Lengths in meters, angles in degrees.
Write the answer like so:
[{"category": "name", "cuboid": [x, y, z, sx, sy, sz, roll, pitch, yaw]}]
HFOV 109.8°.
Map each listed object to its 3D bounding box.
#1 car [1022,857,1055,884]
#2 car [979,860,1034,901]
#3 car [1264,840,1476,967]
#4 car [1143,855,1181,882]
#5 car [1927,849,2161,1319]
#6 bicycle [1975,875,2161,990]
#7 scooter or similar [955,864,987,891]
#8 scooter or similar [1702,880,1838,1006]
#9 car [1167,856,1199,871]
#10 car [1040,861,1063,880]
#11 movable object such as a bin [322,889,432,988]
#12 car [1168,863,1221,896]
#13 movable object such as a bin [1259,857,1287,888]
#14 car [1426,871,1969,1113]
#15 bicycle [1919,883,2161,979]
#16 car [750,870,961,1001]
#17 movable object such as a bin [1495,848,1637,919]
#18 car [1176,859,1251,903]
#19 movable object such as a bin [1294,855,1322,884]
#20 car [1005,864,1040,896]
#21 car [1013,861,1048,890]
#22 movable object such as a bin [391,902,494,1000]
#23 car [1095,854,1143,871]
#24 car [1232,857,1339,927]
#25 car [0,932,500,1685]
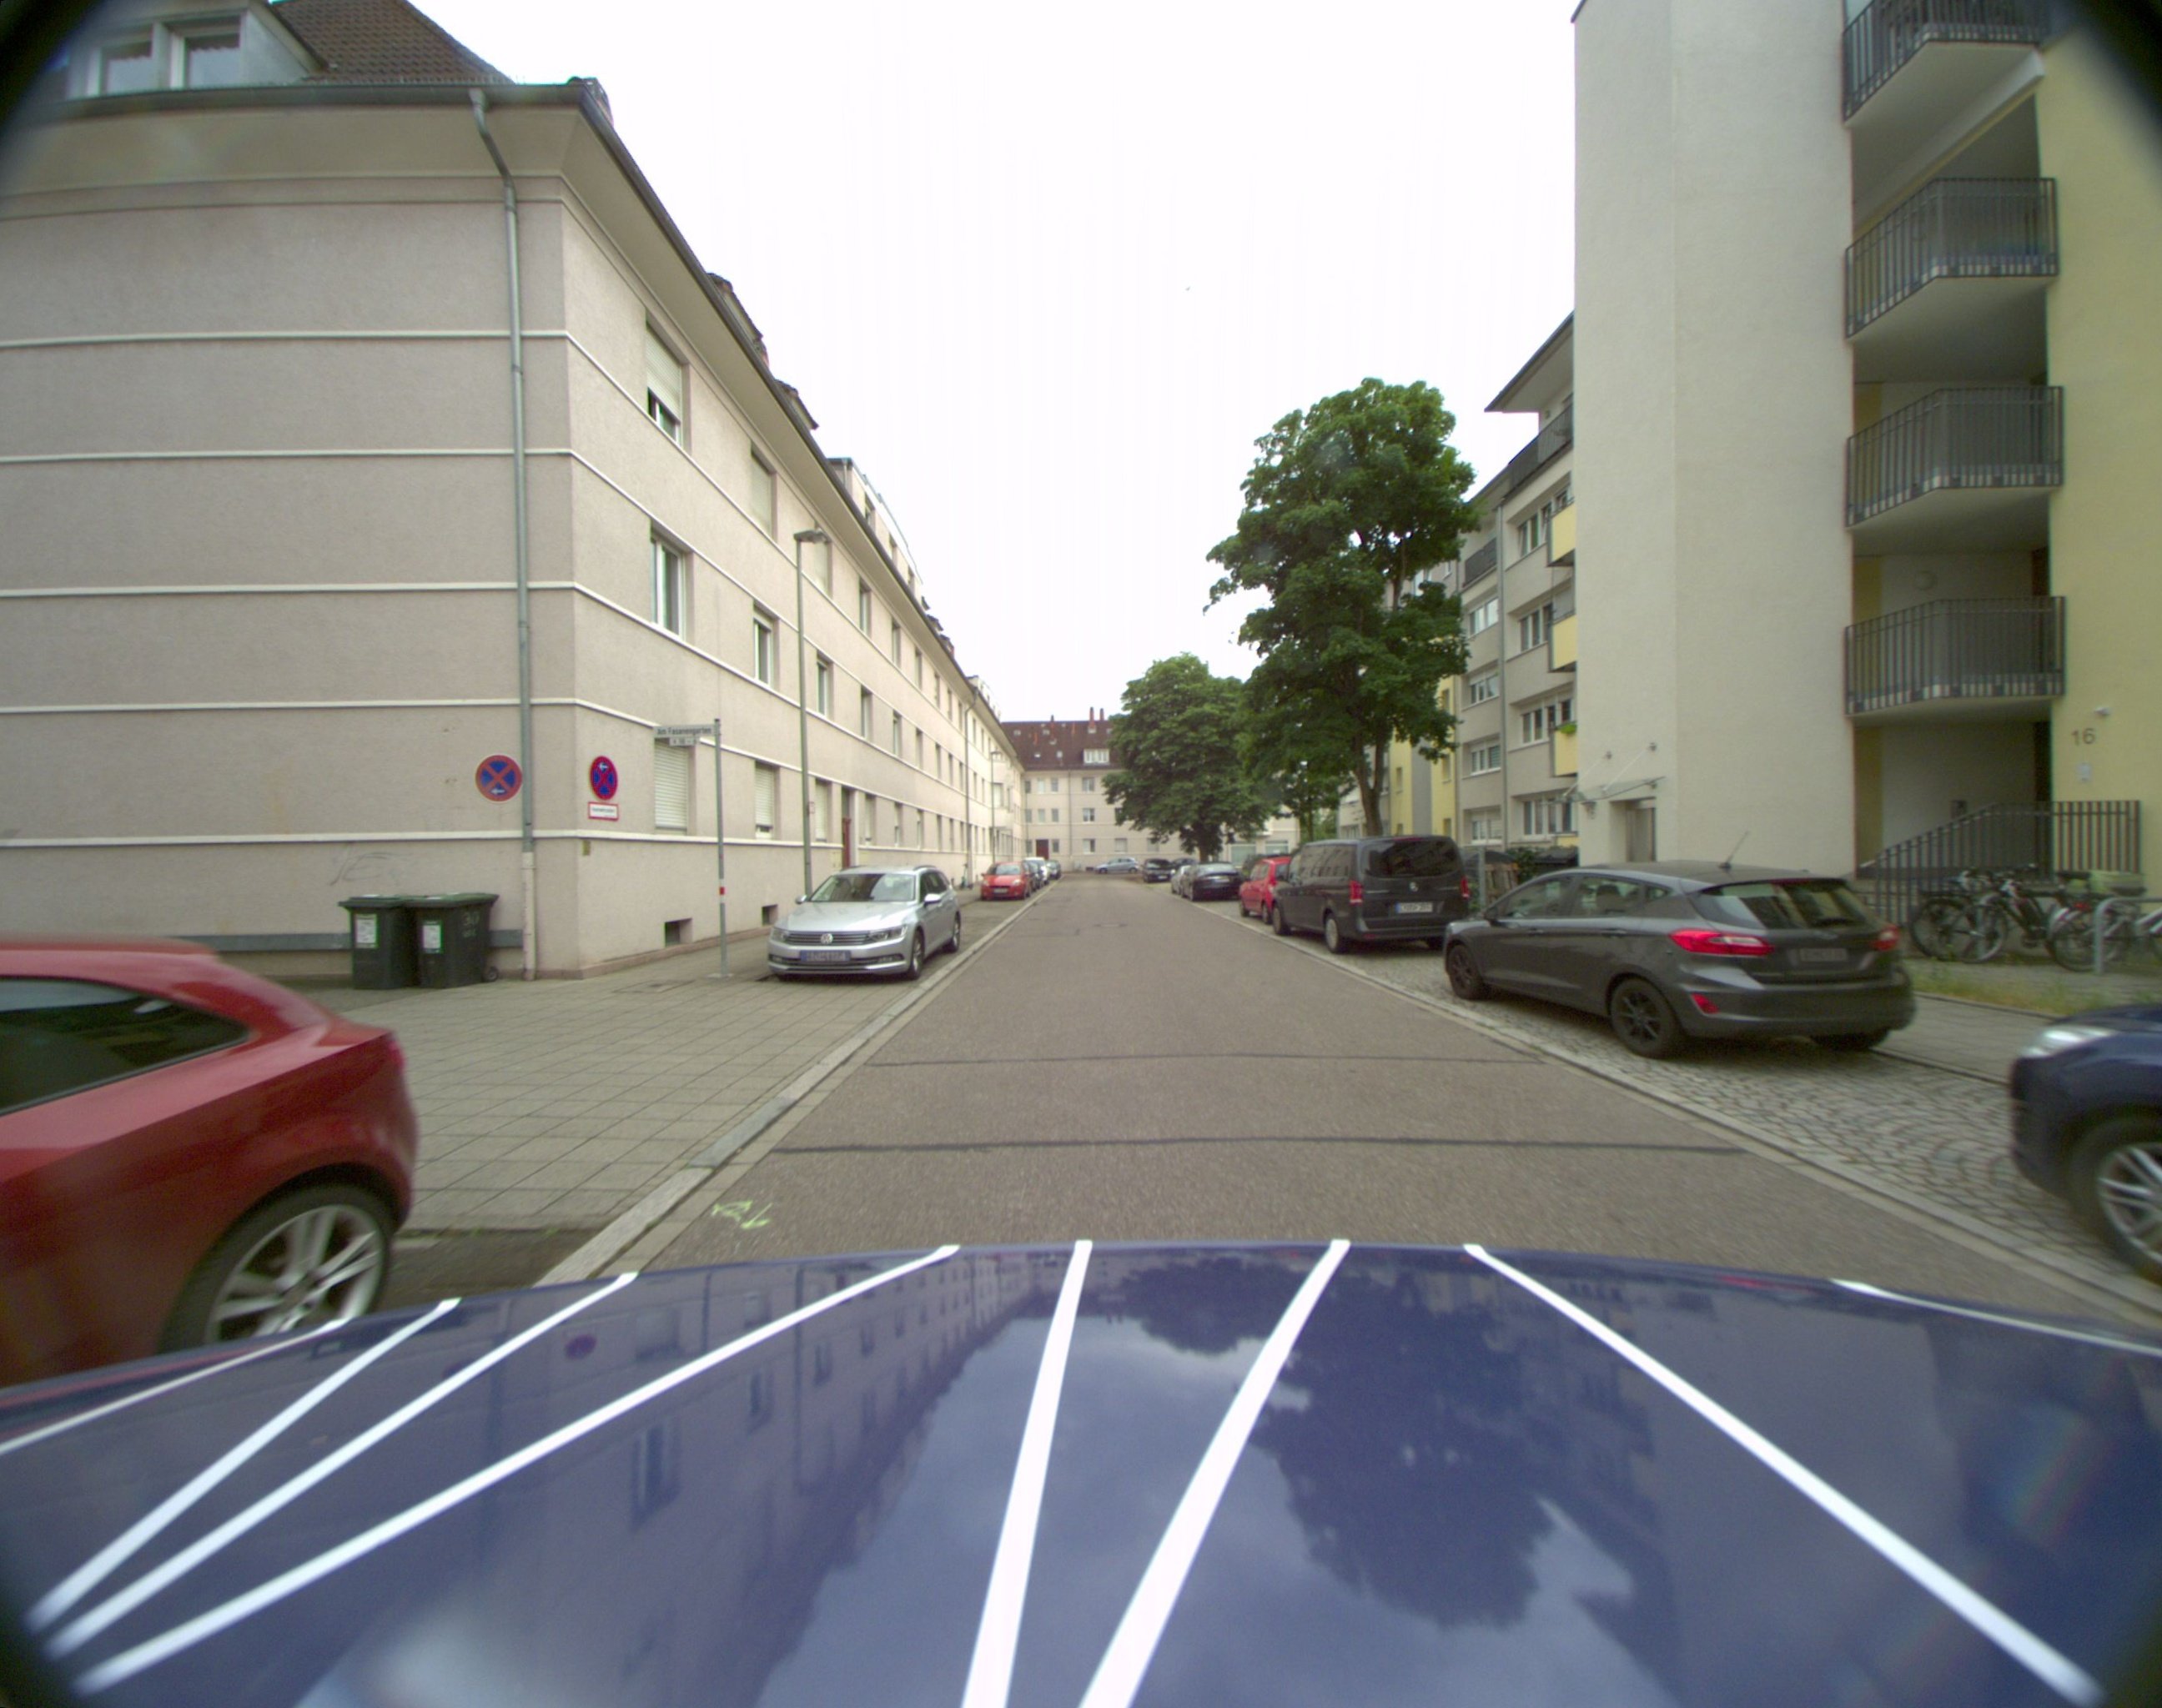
[{"category": "car", "cuboid": [-2.564, 0.956, 46.722, 1.764, 1.595, 3.956, 0, 0, 0]}, {"category": "car", "cuboid": [-2.882, 1.006, 29.991, 1.758, 1.477, 3.773, 0, 0, 0]}, {"category": "car", "cuboid": [4.801, 0.732, 13.491, 1.891, 1.844, 4.785, -1, 0, 0]}, {"category": "car", "cuboid": [5.172, 0.886, 48.824, 2.000, 1.566, 4.210, -3, 0, 1]}, {"category": "car", "cuboid": [4.639, 0.781, 1.116, 1.804, 1.617, 4.472, -2, 0, 0]}, {"category": "bicycle", "cuboid": [10.798, 0.795, 7.963, 1.855, 1.130, 0.717, 0, 0, 7]}, {"category": "scooter or similar", "cuboid": [-5.167, 1.097, 35.838, 0.650, 1.226, 1.473, 0, 0, 36]}, {"category": "scooter or similar", "cuboid": [7.393, 0.916, 8.208, 0.438, 1.236, 1.135, 0, 0, 0]}, {"category": "car", "cuboid": [9.641, 0.878, 71.779, 2.930, 1.277, 1.353, -1, 0, 4]}, {"category": "car", "cuboid": [-2.170, 1.214, 57.373, 1.563, 1.334, 3.789, 0, 0, 0]}, {"category": "movable object such as a bin", "cuboid": [-7.865, 0.924, 8.516, 0.549, 1.036, 0.705, 0, 0, 3]}, {"category": "car", "cuboid": [5.006, 1.101, 34.011, 1.765, 1.257, 4.210, -3, 0, 1]}, {"category": "movable object such as a bin", "cuboid": [9.197, 0.859, 36.414, 1.184, 1.467, 0.889, 0, 0, 3]}, {"category": "car", "cuboid": [4.871, 0.928, 6.819, 1.625, 1.437, 3.818, -2, 0, -3]}, {"category": "bicycle", "cuboid": [10.926, 0.853, 8.665, 1.855, 1.014, 0.671, 0, 0, 7]}, {"category": "car", "cuboid": [-2.957, 0.998, 10.902, 1.792, 1.455, 4.040, 0, 0, 0]}, {"category": "movable object such as a bin", "cuboid": [10.967, 0.625, 17.375, 1.617, 1.515, 2.541, 0, 0, -1]}, {"category": "car", "cuboid": [4.898, 0.970, 28.646, 1.919, 1.431, 4.434, -3, 0, -1]}, {"category": "movable object such as a bin", "cuboid": [11.521, 0.785, 38.546, 1.184, 1.467, 0.889, 0, 0, 3]}, {"category": "car", "cuboid": [-2.711, 1.191, 35.867, 1.353, 1.404, 3.310, 0, 0, 0]}, {"category": "car", "cuboid": [-2.700, 1.126, 41.083, 1.587, 1.500, 3.486, 0, 0, 0]}, {"category": "movable object such as a bin", "cuboid": [-7.271, 1.083, 8.679, 0.549, 1.036, 0.705, 0, 0, 3]}, {"category": "car", "cuboid": [3.598, 0.773, 71.788, 4.545, 1.550, 1.565, 0, 0, 4]}, {"category": "car", "cuboid": [4.922, 0.860, 18.784, 1.625, 1.559, 3.613, 0, 0, -1]}, {"category": "car", "cuboid": [-3.128, 1.013, 0.935, 1.758, 1.401, 3.936, 1, 0, 0]}]
